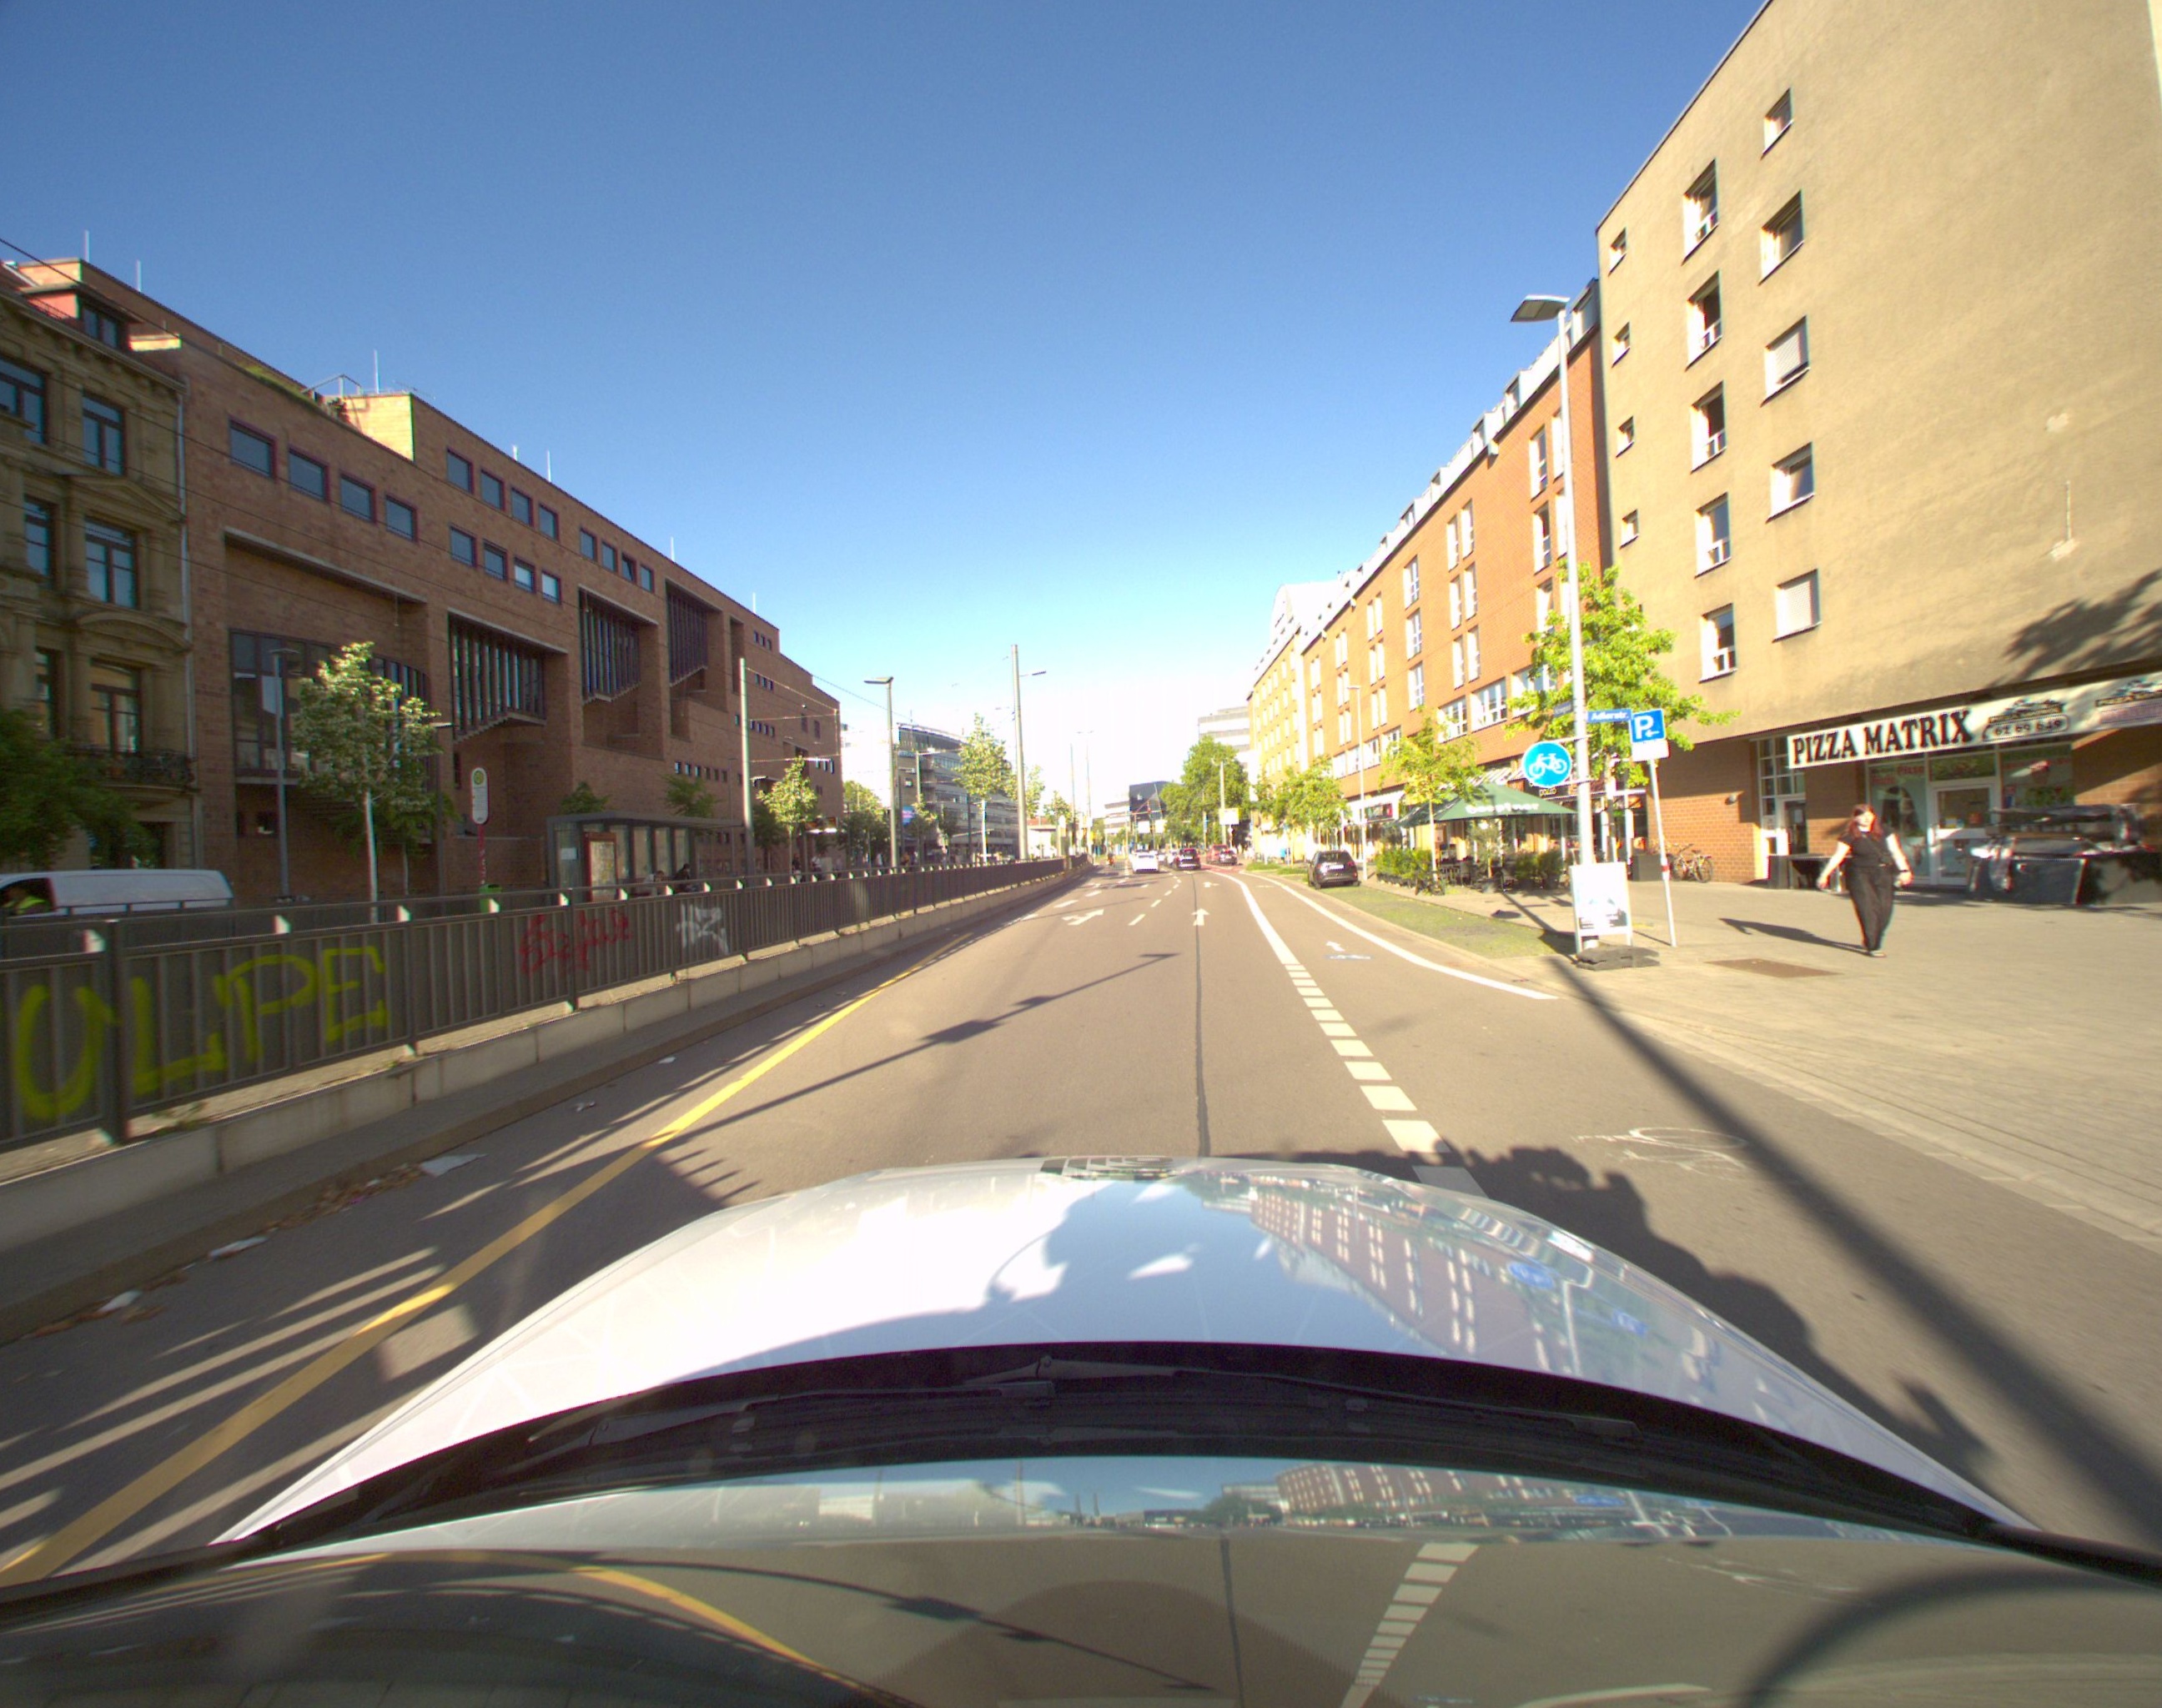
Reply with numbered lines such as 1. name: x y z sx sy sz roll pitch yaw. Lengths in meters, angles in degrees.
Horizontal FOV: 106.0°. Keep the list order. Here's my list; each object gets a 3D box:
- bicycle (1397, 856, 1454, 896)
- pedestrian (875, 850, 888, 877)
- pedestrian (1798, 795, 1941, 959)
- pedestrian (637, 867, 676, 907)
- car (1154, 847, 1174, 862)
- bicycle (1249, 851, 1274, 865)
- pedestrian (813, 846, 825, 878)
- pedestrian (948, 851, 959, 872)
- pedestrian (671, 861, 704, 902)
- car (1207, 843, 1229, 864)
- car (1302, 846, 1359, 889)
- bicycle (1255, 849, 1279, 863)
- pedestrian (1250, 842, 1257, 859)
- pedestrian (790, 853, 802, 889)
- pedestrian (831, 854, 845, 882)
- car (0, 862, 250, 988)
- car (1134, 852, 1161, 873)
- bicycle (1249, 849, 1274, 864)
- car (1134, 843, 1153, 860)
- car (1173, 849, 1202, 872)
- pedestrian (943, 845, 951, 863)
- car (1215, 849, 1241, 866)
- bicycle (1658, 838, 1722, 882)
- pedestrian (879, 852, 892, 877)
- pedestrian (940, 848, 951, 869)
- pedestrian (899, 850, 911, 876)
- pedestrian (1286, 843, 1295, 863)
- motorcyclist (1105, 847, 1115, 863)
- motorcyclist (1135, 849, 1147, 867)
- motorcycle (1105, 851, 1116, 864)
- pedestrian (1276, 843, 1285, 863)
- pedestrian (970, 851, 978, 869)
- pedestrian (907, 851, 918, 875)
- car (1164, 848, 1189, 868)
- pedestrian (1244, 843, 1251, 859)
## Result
1. bicycle: 10.460 0.662 24.821 0.763 1.081 1.997 -7 -1 0
2. pedestrian: -12.756 0.628 52.161 0.620 1.714 0.616 -1 0 3
3. pedestrian: 9.116 0.265 9.485 0.875 1.763 1.112 -4 -1 32
4. pedestrian: -13.246 1.008 25.419 0.718 1.168 0.722 -4 0 3
5. car: 9.023 0.027 88.690 1.843 1.497 4.382 -1 1 3
6. bicycle: 14.476 0.310 65.365 1.931 1.075 0.556 -3 -1 13
7. pedestrian: -13.203 0.412 41.034 0.376 1.621 0.553 0 0 3
8. pedestrian: -10.293 0.585 65.672 0.637 1.643 0.946 0 0 3
9. pedestrian: -13.275 0.923 27.463 0.643 1.309 0.722 -4 0 3
10. car: 13.835 -0.076 82.452 1.852 1.961 4.005 -2 0 4
11. car: 10.570 0.531 34.766 1.710 1.636 4.242 -3 0 9
12. bicycle: 15.593 0.203 68.224 1.931 1.074 0.628 -3 -1 14
13. pedestrian: 19.186 -0.353 90.441 0.604 1.821 0.749 -2 0 2
14. pedestrian: -13.460 0.800 38.456 0.376 1.648 0.416 0 0 3
15. pedestrian: -13.088 0.759 43.884 0.537 1.459 0.643 0 0 3
16. car: -17.603 1.115 13.956 1.987 1.880 4.583 0 0 0
17. car: 4.728 0.604 58.609 1.773 1.414 4.822 0 0 3
18. bicycle: 14.605 0.198 65.881 1.931 1.137 0.492 -3 -1 13
19. car: 5.596 -0.234 73.189 1.685 1.496 4.413 0 0 3
20. car: 8.346 0.471 63.973 1.966 1.759 4.637 0 0 3
21. pedestrian: -12.275 0.000 74.606 0.561 1.609 0.616 -1 0 3
22. car: 13.692 0.284 76.064 1.839 1.560 4.637 0 0 3
23. bicycle: 17.320 0.158 23.195 0.611 1.169 1.537 -4 0 0
24. pedestrian: -12.742 0.709 53.048 0.620 1.612 0.616 -1 0 3
25. pedestrian: -10.945 0.353 65.693 0.637 1.608 0.946 0 0 3
26. pedestrian: -11.532 0.570 53.450 0.637 1.695 0.541 0 0 3
27. pedestrian: 19.117 -0.120 74.334 0.604 1.821 0.749 -2 0 2
28. motorcyclist: 3.039 0.113 84.342 1.014 1.603 1.149 0 0 3
29. motorcyclist: 4.940 0.310 67.269 0.834 1.475 1.237 -2 0 2
30. motorcycle: 3.044 0.391 84.310 1.014 1.312 2.917 0 0 3
31. pedestrian: 18.027 -0.069 73.554 0.604 1.821 0.749 -2 0 2
32. pedestrian: -11.215 0.602 85.389 0.611 1.817 0.897 -1 0 3
33. pedestrian: -12.155 0.623 58.831 0.579 1.738 0.616 -1 0 3
34. car: 8.341 0.308 71.582 1.843 1.639 4.382 -1 0 3
35. pedestrian: 19.343 -0.382 94.752 0.604 1.821 0.749 -2 0 2
